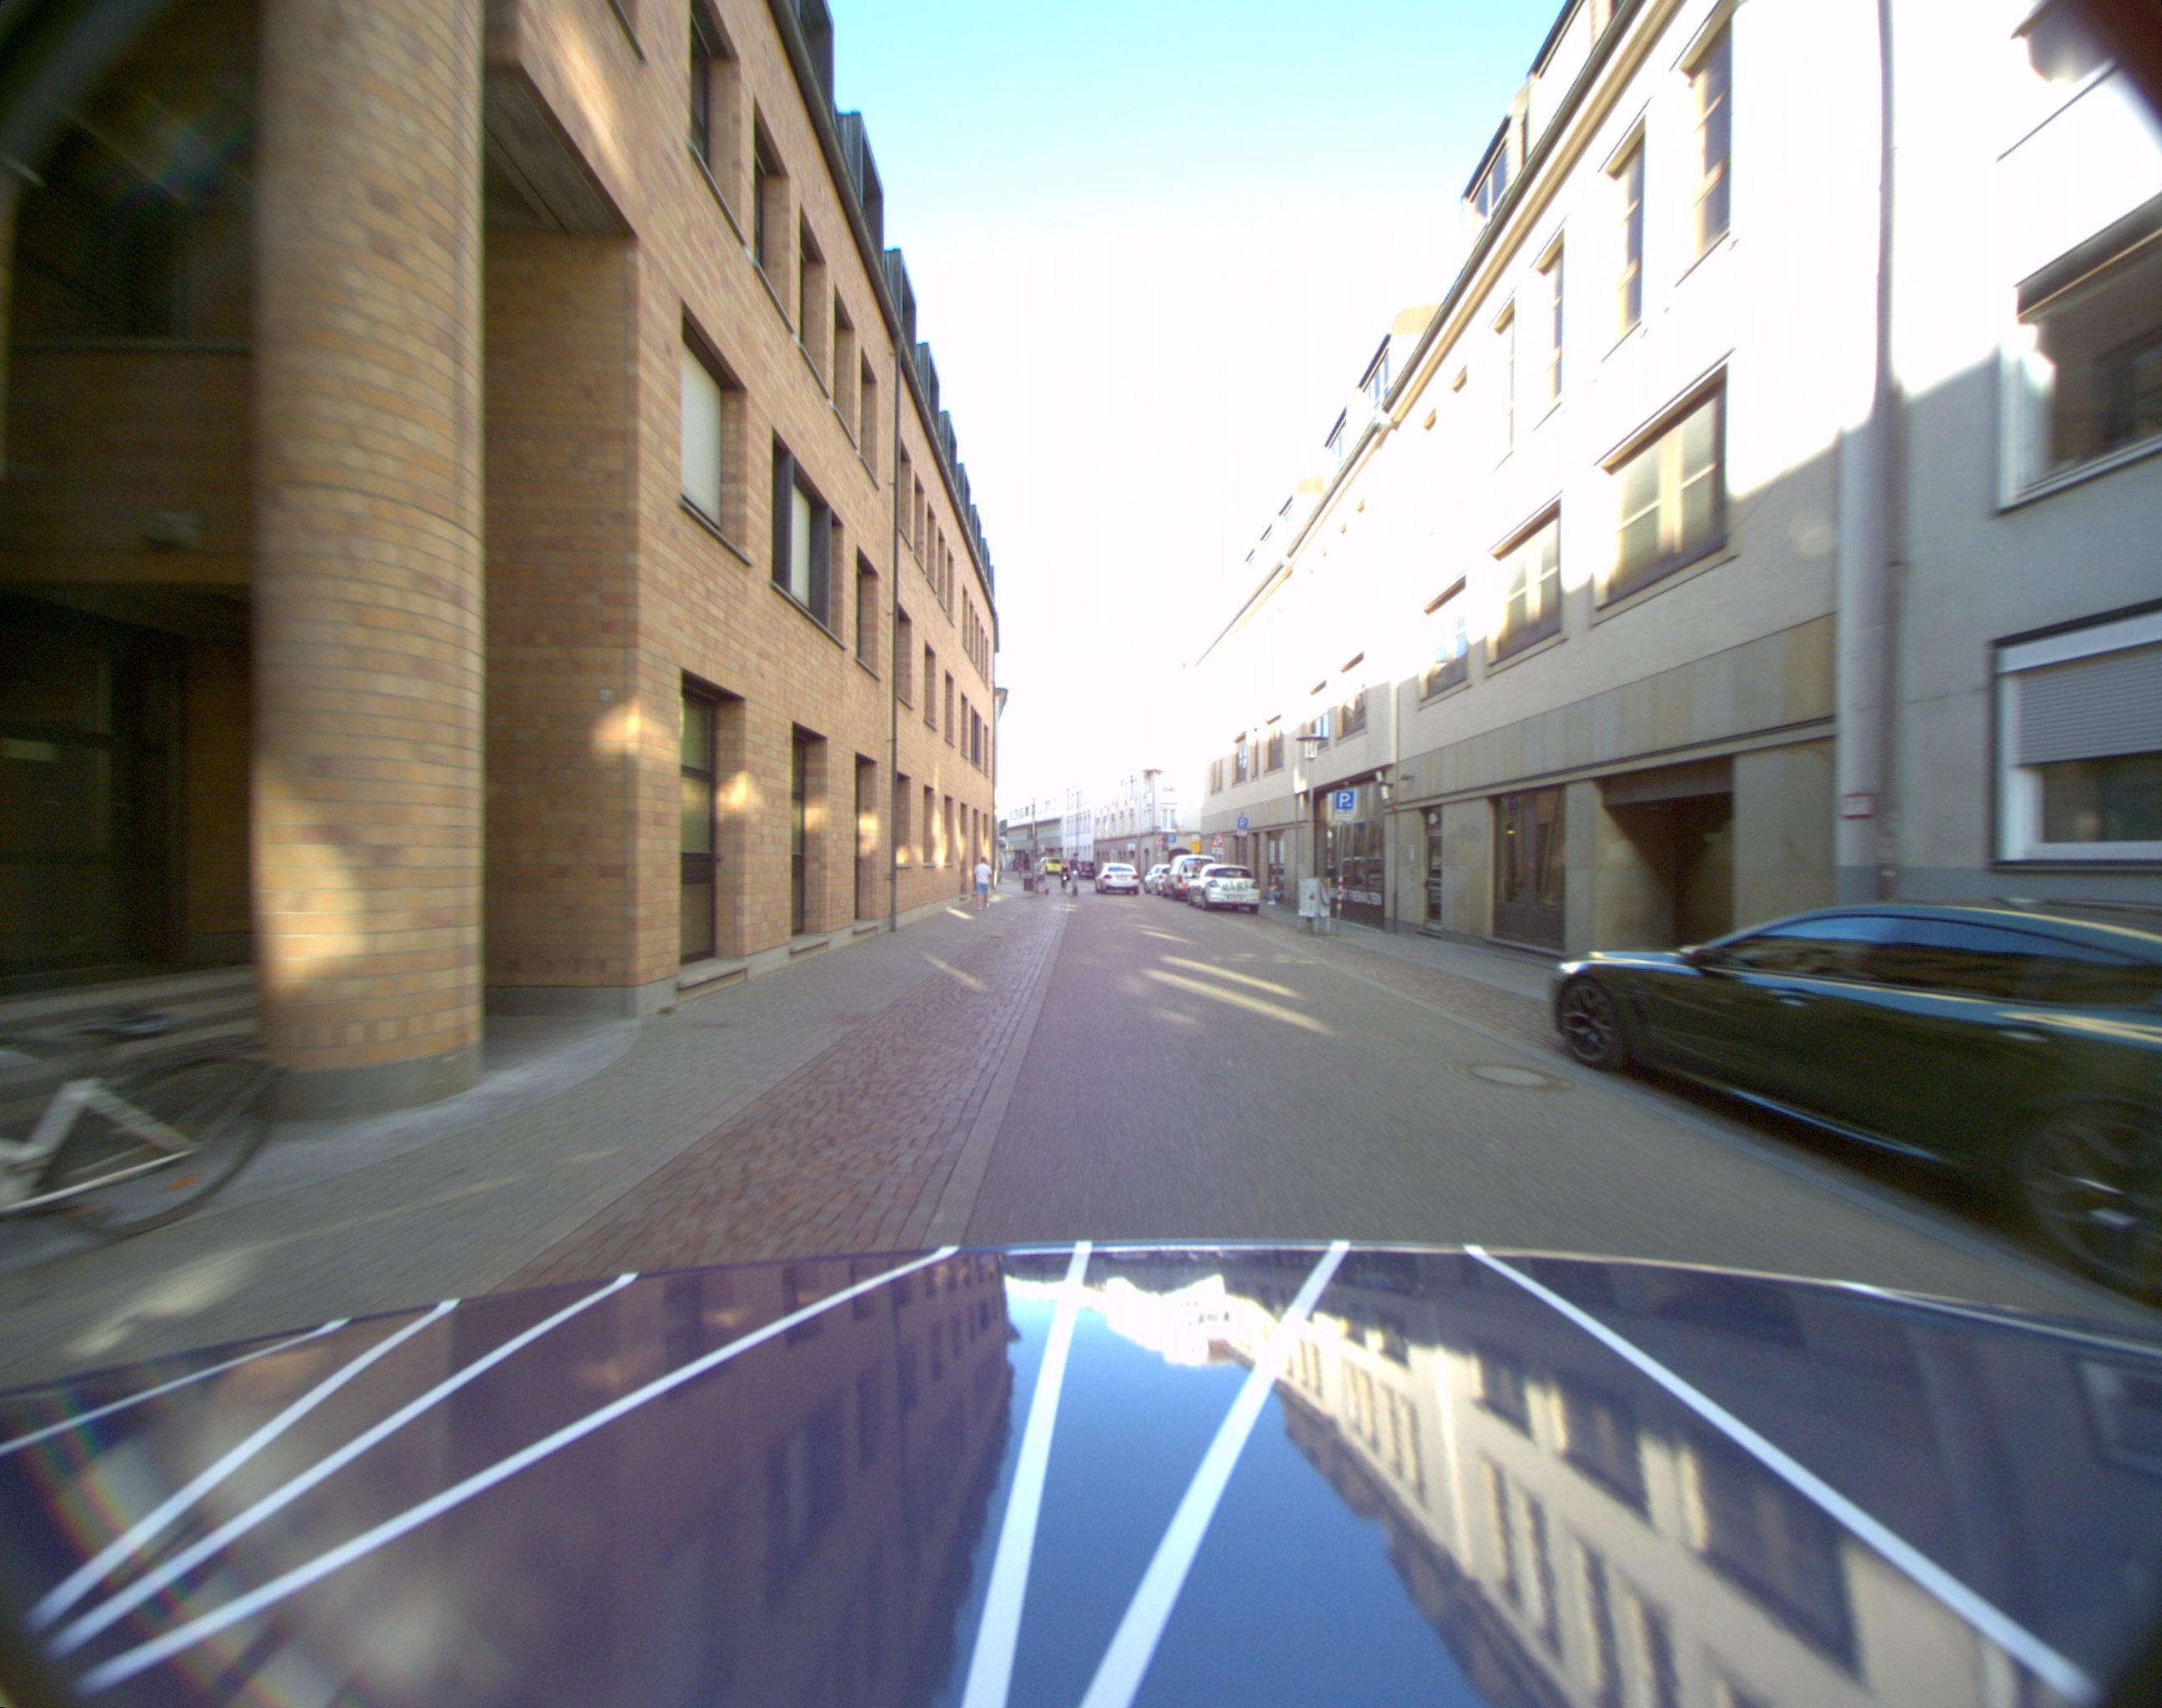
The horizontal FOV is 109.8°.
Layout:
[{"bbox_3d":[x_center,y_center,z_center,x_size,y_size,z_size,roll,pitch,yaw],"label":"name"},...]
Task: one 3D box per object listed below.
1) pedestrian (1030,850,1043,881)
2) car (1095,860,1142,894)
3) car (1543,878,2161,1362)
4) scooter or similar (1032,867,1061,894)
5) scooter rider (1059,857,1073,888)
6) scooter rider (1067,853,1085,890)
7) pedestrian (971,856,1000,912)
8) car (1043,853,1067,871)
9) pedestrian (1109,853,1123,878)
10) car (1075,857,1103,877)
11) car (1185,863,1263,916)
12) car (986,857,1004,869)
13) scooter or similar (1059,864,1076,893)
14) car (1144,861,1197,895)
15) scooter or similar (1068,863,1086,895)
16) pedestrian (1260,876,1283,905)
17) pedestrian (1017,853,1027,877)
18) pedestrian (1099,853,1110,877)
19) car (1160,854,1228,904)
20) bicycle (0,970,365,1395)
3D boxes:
[{"bbox_3d":[-2.894,0.756,49.082,0.716,2.002,0.698,1,0,-11],"label":"pedestrian"},{"bbox_3d":[1.730,1.062,36.334,1.719,1.508,4.158,1,0,-4],"label":"car"},{"bbox_3d":[4.718,1.028,3.840,1.894,1.521,4.729,4,0,2],"label":"car"},{"bbox_3d":[-1.613,1.255,35.703,0.537,1.228,1.422,-1,0,38],"label":"scooter or similar"},{"bbox_3d":[-0.751,0.917,37.424,0.592,1.499,0.599,-2,1,-11],"label":"scooter rider"},{"bbox_3d":[-0.221,0.770,33.918,0.648,1.584,0.599,-2,1,-11],"label":"scooter rider"},{"bbox_3d":[-3.025,0.948,24.137,0.762,1.706,0.821,2,0,0],"label":"pedestrian"},{"bbox_3d":[-2.901,0.862,83.345,1.890,1.863,3.995,1,0,-14],"label":"car"},{"bbox_3d":[2.911,0.953,63.345,0.938,2.002,0.698,1,0,-12],"label":"pedestrian"},{"bbox_3d":[0.665,1.089,66.813,1.889,1.694,3.997,-1,0,-9],"label":"car"},{"bbox_3d":[4.665,1.117,25.212,1.674,1.513,3.775,3,0,-2],"label":"car"},{"bbox_3d":[-11.523,1.232,101.751,1.858,1.583,3.802,1,-2,-16],"label":"car"},{"bbox_3d":[-0.673,1.179,37.180,0.550,1.388,1.554,1,0,-10],"label":"scooter or similar"},{"bbox_3d":[4.317,1.129,37.225,1.742,1.483,3.797,2,0,-6],"label":"car"},{"bbox_3d":[-0.176,1.108,33.807,0.524,1.388,1.554,1,0,-10],"label":"scooter or similar"},{"bbox_3d":[7.026,1.342,28.068,0.657,1.029,0.617,0,0,-6],"label":"pedestrian"},{"bbox_3d":[-4.942,0.926,63.207,0.716,2.002,0.698,1,0,-11],"label":"pedestrian"},{"bbox_3d":[1.955,0.906,63.183,0.716,2.002,0.698,1,0,-11],"label":"pedestrian"},{"bbox_3d":[4.584,0.972,31.464,1.904,1.846,4.733,2,0,-2],"label":"car"},{"bbox_3d":[-3.544,1.086,2.470,0.551,1.097,1.982,4,0,-2],"label":"bicycle"}]
